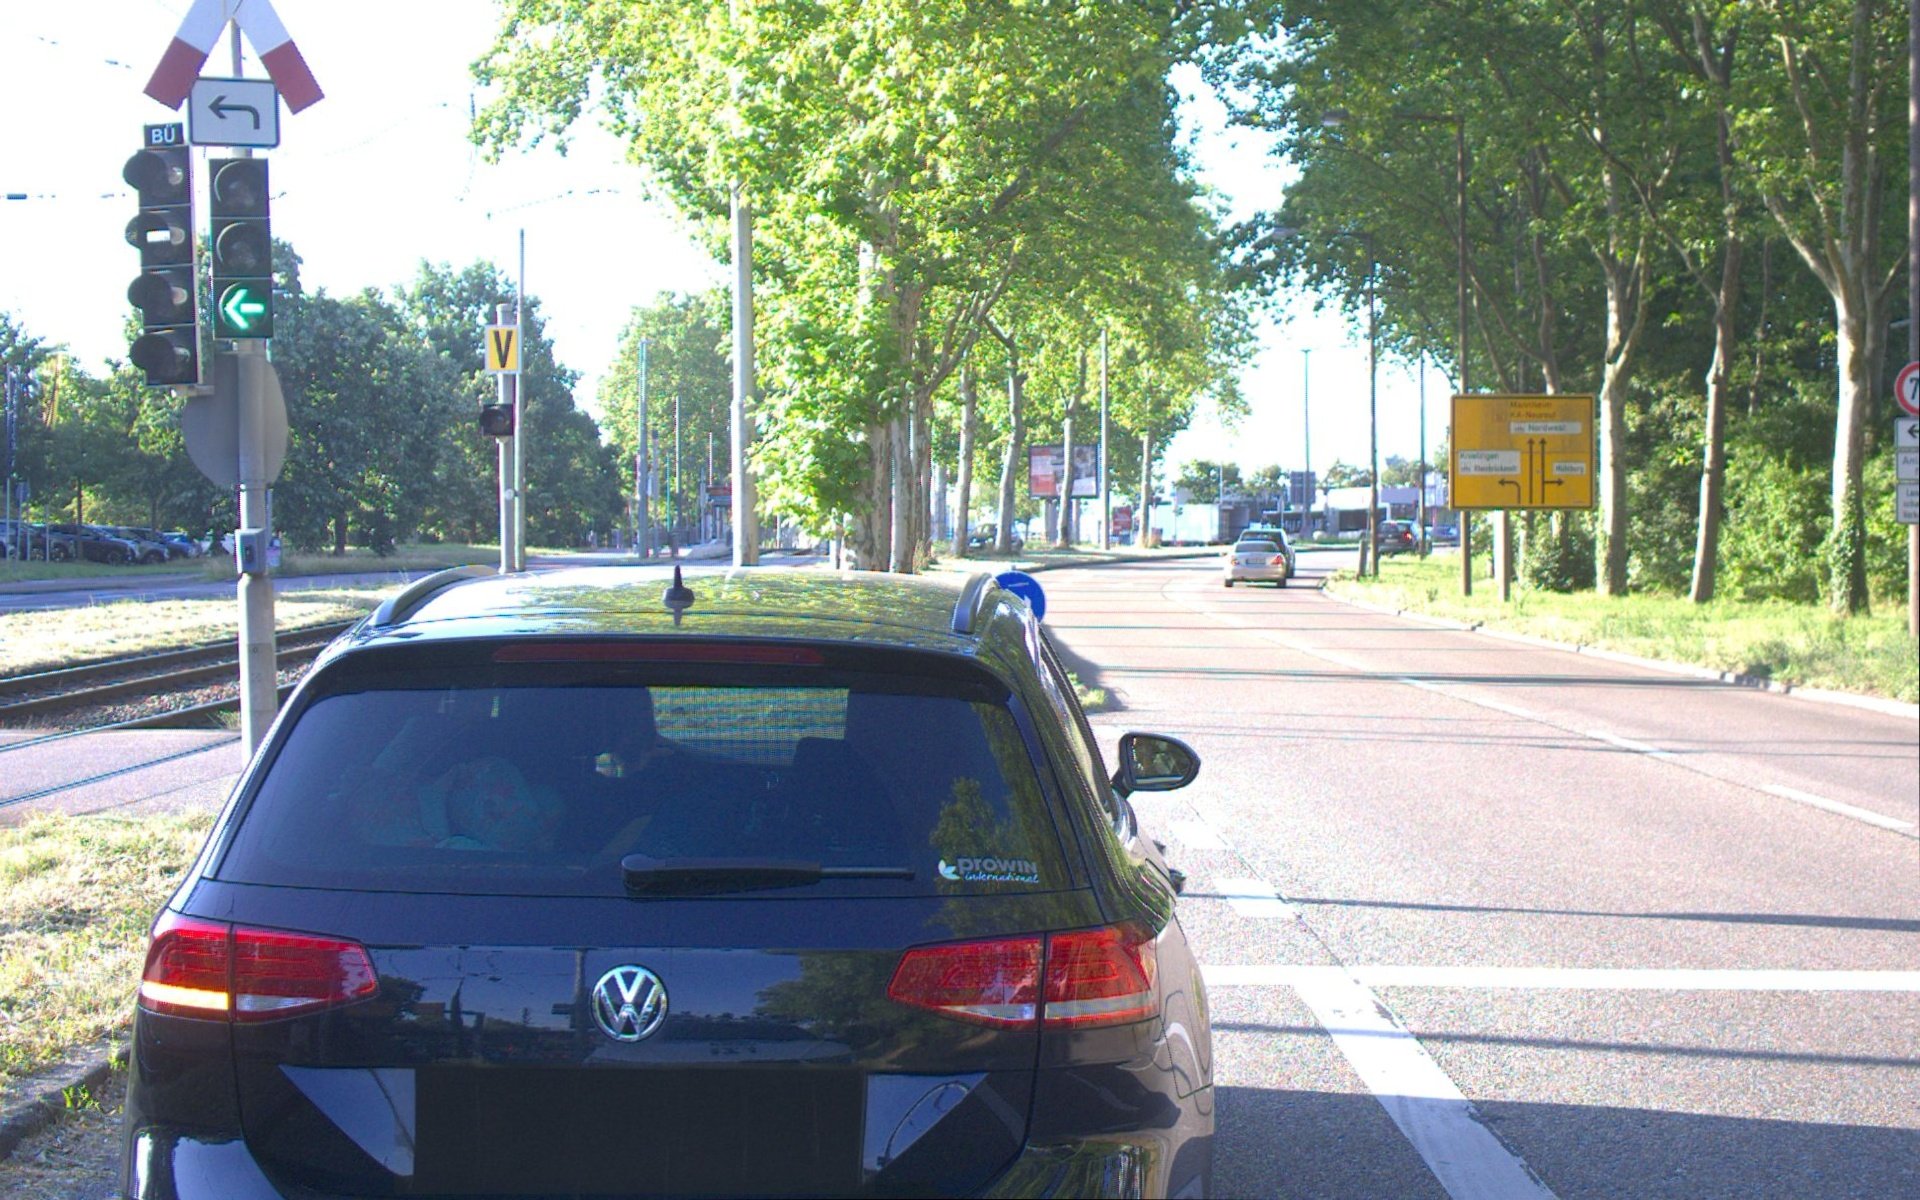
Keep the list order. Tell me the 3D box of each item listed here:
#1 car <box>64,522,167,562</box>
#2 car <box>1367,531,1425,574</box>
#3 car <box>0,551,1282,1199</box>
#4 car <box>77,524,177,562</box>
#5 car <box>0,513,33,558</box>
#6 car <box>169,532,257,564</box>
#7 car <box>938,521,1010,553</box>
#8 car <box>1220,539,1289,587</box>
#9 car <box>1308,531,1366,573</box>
[{"bbox_3d":[-35.817,-2.457,145.901,3.986,1.615,1.744,1,1,-5],"label":"car"},{"bbox_3d":[18.224,-1.978,143.624,1.873,1.629,4.367,4,1,13],"label":"car"},{"bbox_3d":[-0.487,0.653,6.613,1.795,1.459,3.583,1,1,-1],"label":"car"},{"bbox_3d":[-36.110,-2.475,149.064,3.986,1.615,1.744,1,1,-5],"label":"car"},{"bbox_3d":[-35.910,-2.364,124.995,3.986,1.615,1.744,1,1,-5],"label":"car"},{"bbox_3d":[-36.500,-2.547,167.977,3.986,1.550,1.744,1,1,-4],"label":"car"},{"bbox_3d":[0.656,-2.852,155.973,1.996,1.415,3.996,1,1,20],"label":"car"},{"bbox_3d":[8.259,-1.062,96.717,1.609,1.290,3.983,1,1,0],"label":"car"},{"bbox_3d":[21.459,-2.732,195.510,2.097,2.313,5.847,1,1,18],"label":"car"}]
